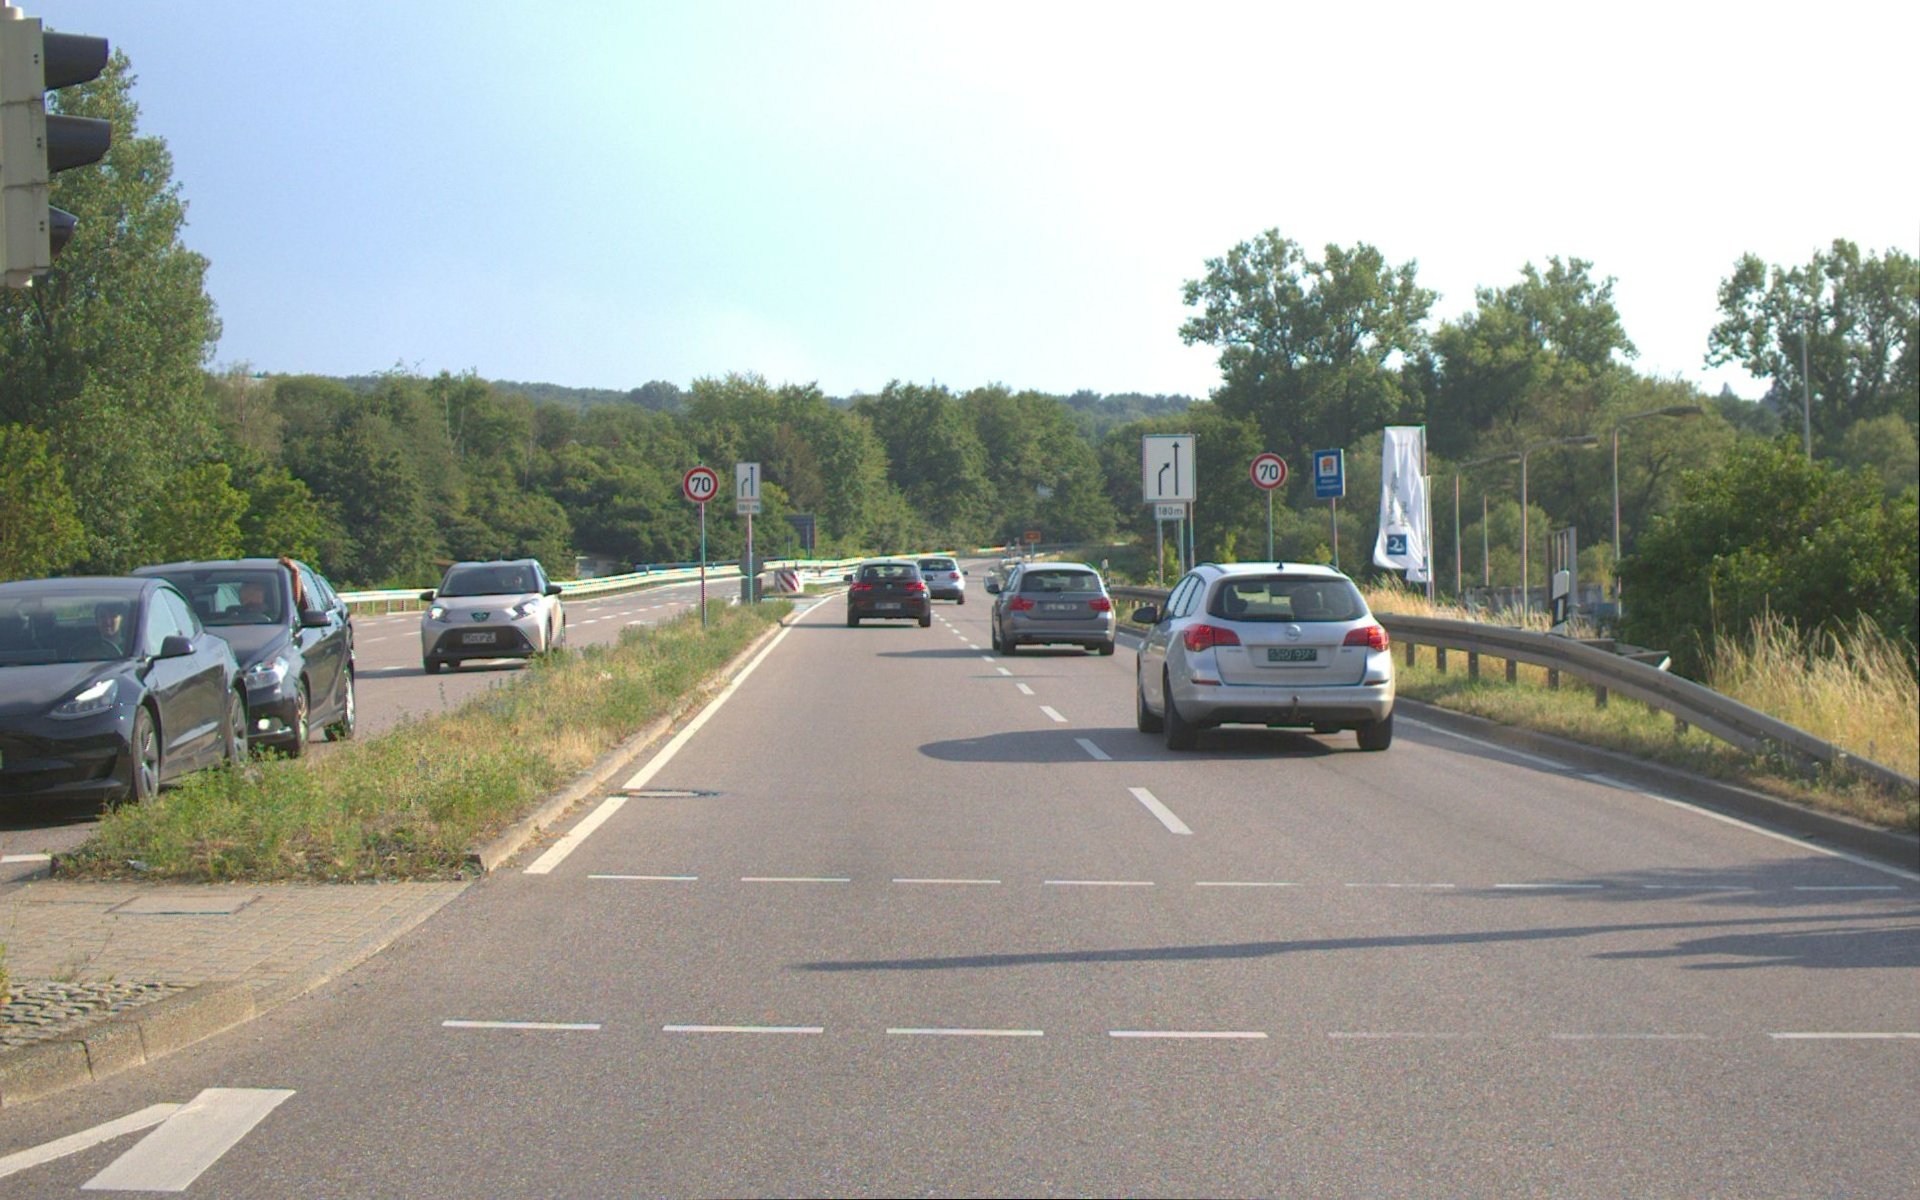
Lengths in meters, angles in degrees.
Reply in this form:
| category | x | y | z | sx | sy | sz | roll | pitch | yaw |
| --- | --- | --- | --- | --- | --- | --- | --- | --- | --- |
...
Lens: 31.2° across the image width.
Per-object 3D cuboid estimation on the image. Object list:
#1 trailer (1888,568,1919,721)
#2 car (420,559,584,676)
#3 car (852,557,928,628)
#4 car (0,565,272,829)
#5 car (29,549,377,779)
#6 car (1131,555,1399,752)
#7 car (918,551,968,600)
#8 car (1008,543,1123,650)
| category | x | y | z | sx | sy | sz | roll | pitch | yaw |
| --- | --- | --- | --- | --- | --- | --- | --- | --- | --- |
| trailer | 24.760 | 1.021 | 75.567 | 7.881 | 3.311 | 3.358 | 1 | 0 | 4 |
| car | -6.403 | 0.245 | 48.397 | 1.780 | 1.515 | 4.000 | -2 | 0 | -1 |
| car | -1.475 | -0.153 | 73.430 | 1.492 | 1.471 | 3.358 | 1 | 0 | 0 |
| car | -5.633 | 0.558 | 21.644 | 1.790 | 1.461 | 4.929 | -1 | 0 | -2 |
| car | -5.886 | 0.432 | 27.265 | 1.780 | 1.532 | 4.572 | -2 | 2 | -1 |
| car | 2.432 | 0.413 | 28.264 | 1.809 | 1.481 | 4.000 | 1 | 0 | 0 |
| car | -0.505 | -0.745 | 106.064 | 1.492 | 1.471 | 3.358 | 1 | 0 | 0 |
| car | 1.612 | -0.046 | 53.522 | 1.667 | 1.568 | 4.000 | 1 | 0 | 0 |
